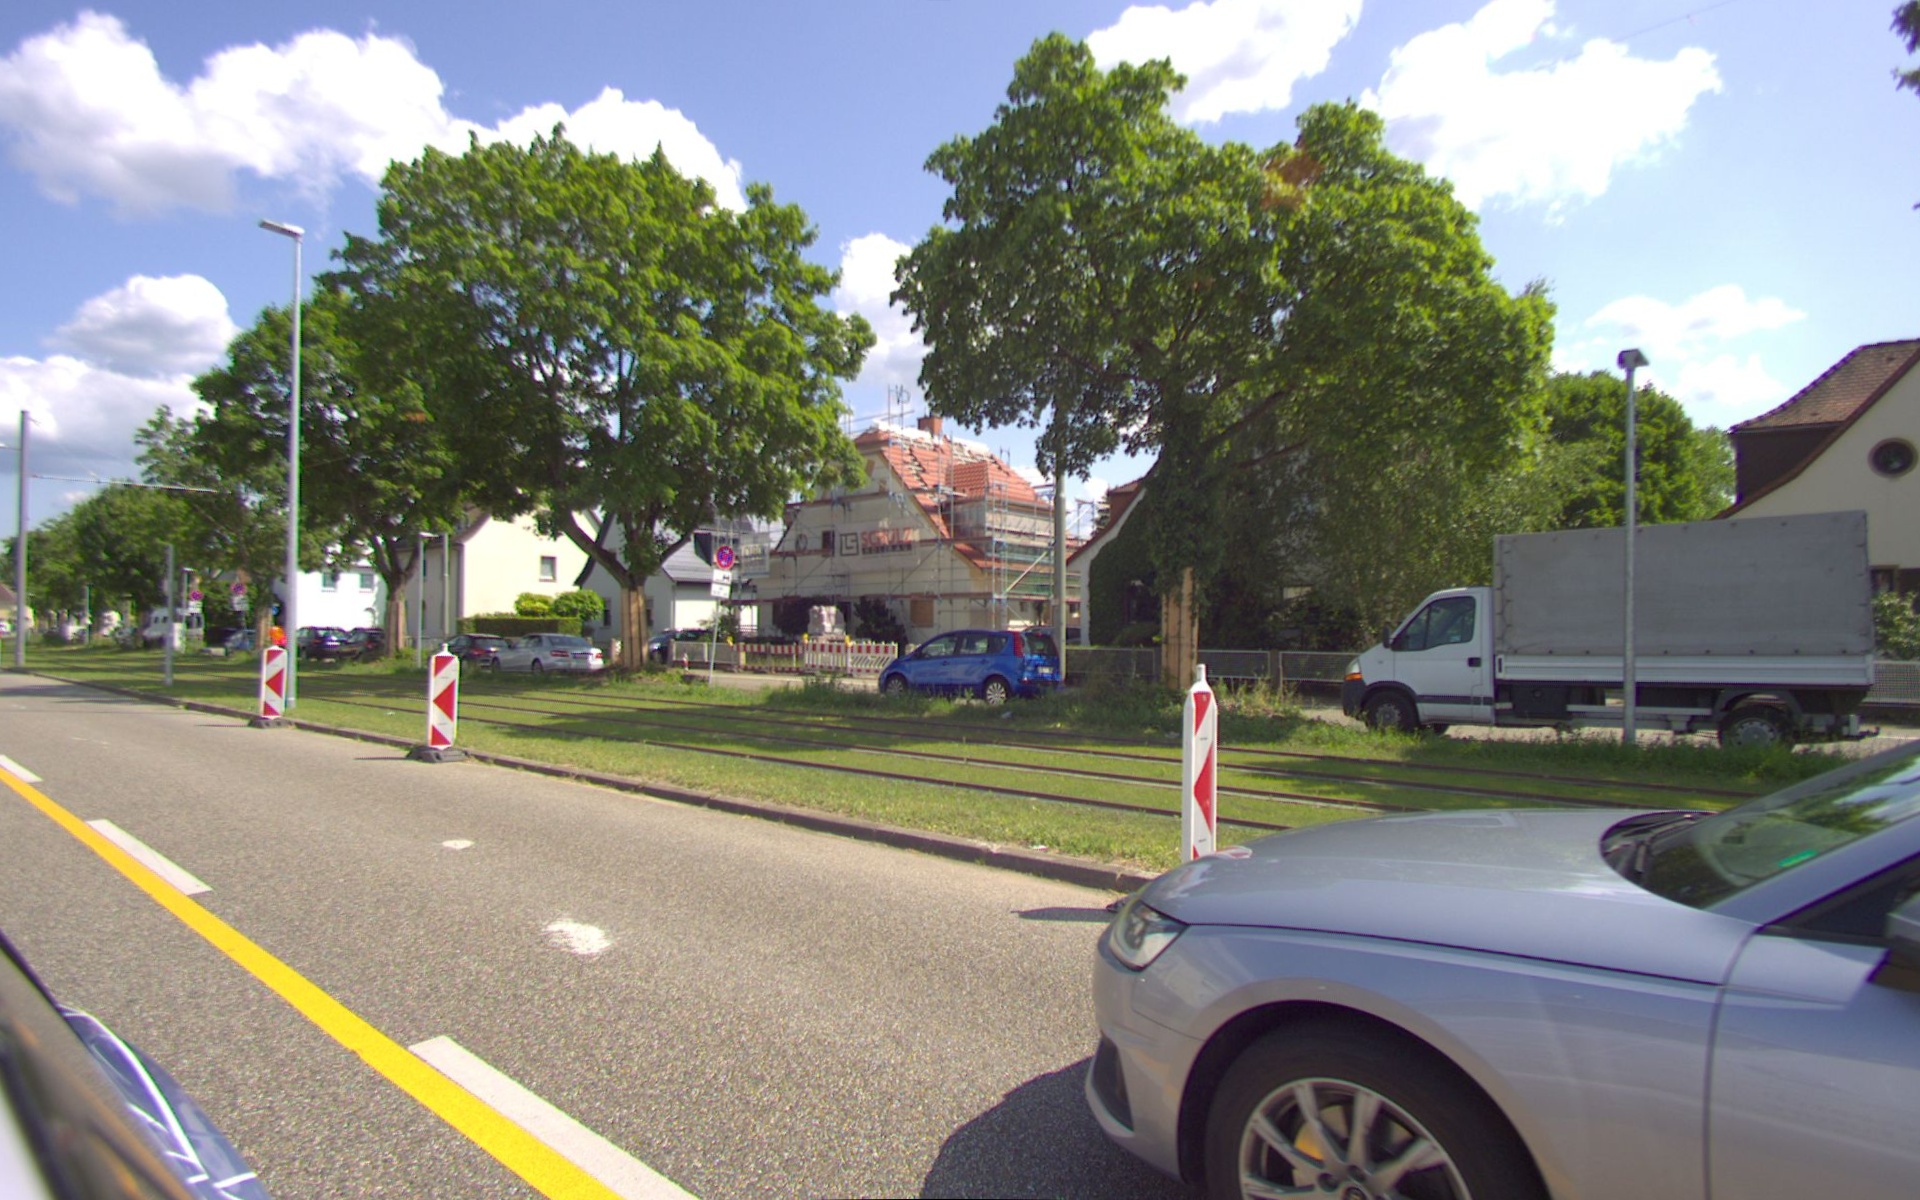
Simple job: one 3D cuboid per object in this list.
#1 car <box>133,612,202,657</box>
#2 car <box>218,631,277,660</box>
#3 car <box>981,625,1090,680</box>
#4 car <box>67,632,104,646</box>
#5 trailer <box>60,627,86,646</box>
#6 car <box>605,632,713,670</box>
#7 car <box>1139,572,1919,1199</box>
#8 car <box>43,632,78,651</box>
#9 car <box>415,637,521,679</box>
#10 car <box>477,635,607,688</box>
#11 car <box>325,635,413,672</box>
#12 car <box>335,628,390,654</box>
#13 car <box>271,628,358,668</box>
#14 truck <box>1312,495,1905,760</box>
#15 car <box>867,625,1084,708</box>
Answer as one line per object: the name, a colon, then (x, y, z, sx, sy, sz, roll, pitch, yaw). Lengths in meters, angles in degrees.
car: (-50.498, 2.212, 64.442, 6.455, 2.751, 1.974, -2, -3, 39)
car: (-37.230, 2.356, 52.827, 3.889, 1.447, 1.735, -1, -3, 43)
car: (2.564, 1.730, 33.746, 1.872, 1.697, 3.610, -1, -3, 40)
car: (-71.993, 3.184, 83.307, 3.834, 1.101, 1.762, -1, -3, 41)
trailer: (-76.163, 3.122, 86.895, 2.281, 1.530, 1.286, -1, -3, 41)
car: (-12.644, 2.122, 42.698, 1.981, 1.412, 3.945, -1, -1, 41)
car: (2.543, 0.701, 1.386, 4.298, 1.458, 1.638, -2, -3, 39)
car: (-83.481, 3.893, 93.936, 4.099, 1.590, 1.885, -3, -7, 42)
car: (-17.358, 2.033, 35.648, 3.850, 1.328, 1.973, -1, -5, 41)
car: (-13.332, 1.900, 32.138, 4.937, 1.494, 1.786, -1, -3, 42)
car: (-24.914, 2.245, 42.618, 3.998, 1.450, 1.973, -1, -4, 41)
car: (-38.725, 2.649, 65.523, 3.998, 1.589, 1.883, -1, -3, 41)
car: (-29.573, 2.192, 46.347, 4.385, 1.704, 1.974, -1, -3, 38)
truck: (8.140, 0.437, 13.447, 6.272, 2.789, 1.973, -2, -6, 41)
car: (0.267, 1.277, 20.321, 3.996, 1.464, 1.974, -1, -3, 39)
